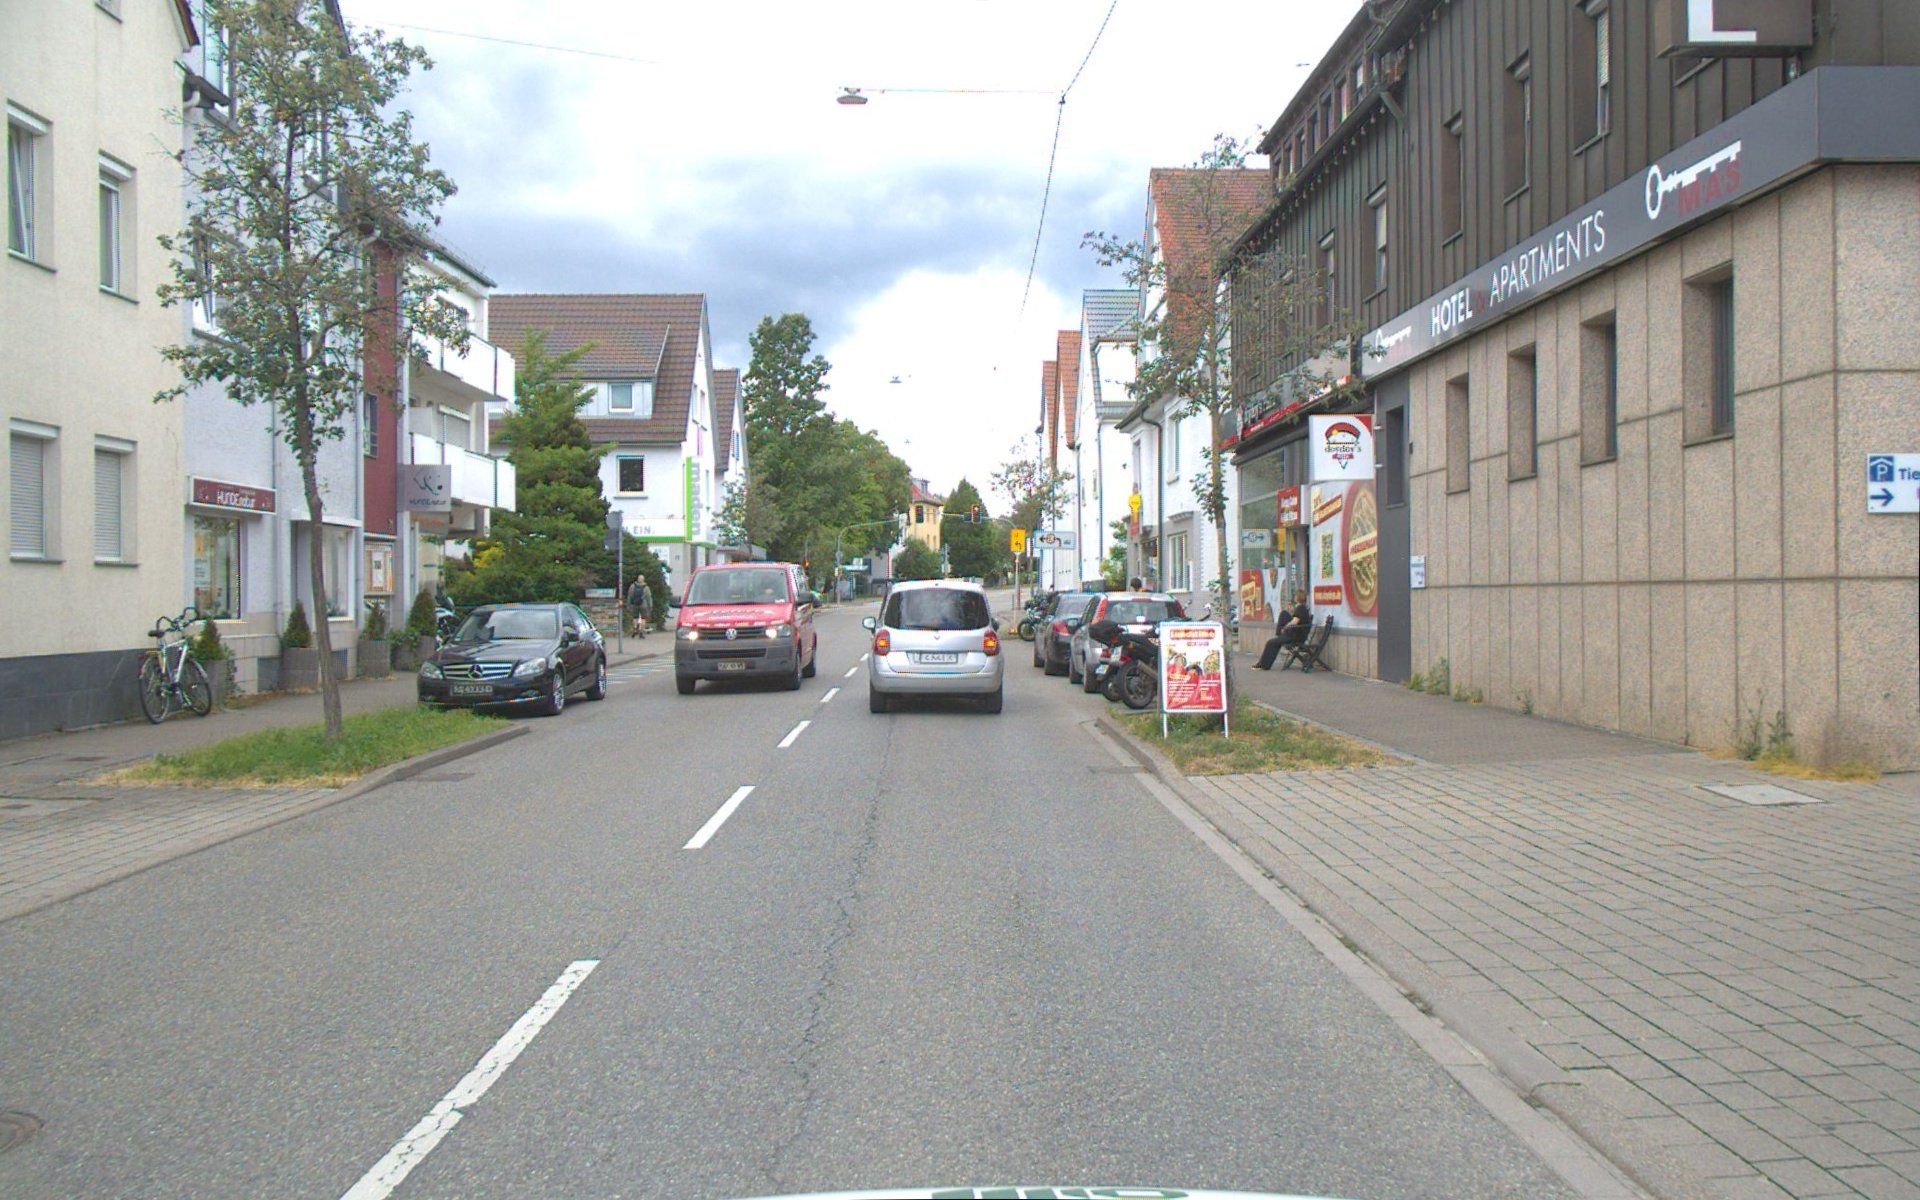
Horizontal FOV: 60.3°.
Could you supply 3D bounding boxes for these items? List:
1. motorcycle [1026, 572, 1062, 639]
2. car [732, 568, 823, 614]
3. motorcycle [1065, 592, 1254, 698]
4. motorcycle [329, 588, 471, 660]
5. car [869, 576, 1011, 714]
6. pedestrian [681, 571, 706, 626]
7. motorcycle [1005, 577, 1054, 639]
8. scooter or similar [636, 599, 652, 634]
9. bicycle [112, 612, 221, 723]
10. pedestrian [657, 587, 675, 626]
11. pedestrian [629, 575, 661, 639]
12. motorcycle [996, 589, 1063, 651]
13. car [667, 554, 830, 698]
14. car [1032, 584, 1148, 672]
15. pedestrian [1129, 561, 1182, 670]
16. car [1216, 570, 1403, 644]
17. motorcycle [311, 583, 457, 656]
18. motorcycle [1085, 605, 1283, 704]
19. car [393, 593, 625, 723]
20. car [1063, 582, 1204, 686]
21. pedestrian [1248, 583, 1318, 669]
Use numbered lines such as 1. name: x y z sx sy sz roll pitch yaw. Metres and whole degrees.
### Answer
1. motorcycle: 2.178 0.143 42.590 0.683 1.667 2.411 1 0 8
2. car: -12.019 -0.615 109.317 5.811 2.958 2.253 1 0 -3
3. motorcycle: 2.710 0.587 22.282 2.680 1.359 0.692 0 0 -32
4. motorcycle: -11.422 0.487 33.821 2.658 1.434 0.698 1 0 -11
5. car: -0.247 0.521 21.397 1.648 1.593 3.993 1 0 0
6. pedestrian: -9.323 -0.040 57.865 0.746 1.908 0.695 1 0 -1
7. motorcycle: 1.881 0.209 45.261 0.686 1.667 2.400 1 0 -14
8. scooter or similar: -9.801 0.511 51.289 0.366 1.053 0.559 -1 0 -1
9. bicycle: -8.902 0.730 18.613 0.504 1.174 1.665 1 0 -4
10. pedestrian: -9.848 0.226 55.424 0.482 1.300 0.588 1 0 -1
11. pedestrian: -9.070 0.198 47.663 0.747 1.822 0.889 1 0 -1
12. motorcycle: 1.695 0.461 39.864 0.684 1.434 2.715 1 0 23
13. car: -3.273 0.364 26.588 1.909 1.996 5.222 -3 0 -1
14. car: 2.303 0.465 30.233 1.666 1.492 4.237 1 0 -2
15. pedestrian: 3.588 0.284 30.378 0.839 1.961 0.899 1 0 -1
16. car: 7.946 0.156 37.829 3.899 1.593 1.688 1 0 -1
17. motorcycle: -11.460 0.392 33.004 2.658 1.434 0.698 1 0 -11
18. motorcycle: 2.901 0.672 21.241 2.701 1.204 0.692 0 0 -32
19. car: -5.989 0.701 22.542 1.909 1.493 4.515 -3 0 -1
20. car: 2.585 0.472 25.428 1.666 1.454 3.889 1 0 -2
21. pedestrian: 5.309 0.417 27.236 0.870 1.322 0.966 -4 0 -1
